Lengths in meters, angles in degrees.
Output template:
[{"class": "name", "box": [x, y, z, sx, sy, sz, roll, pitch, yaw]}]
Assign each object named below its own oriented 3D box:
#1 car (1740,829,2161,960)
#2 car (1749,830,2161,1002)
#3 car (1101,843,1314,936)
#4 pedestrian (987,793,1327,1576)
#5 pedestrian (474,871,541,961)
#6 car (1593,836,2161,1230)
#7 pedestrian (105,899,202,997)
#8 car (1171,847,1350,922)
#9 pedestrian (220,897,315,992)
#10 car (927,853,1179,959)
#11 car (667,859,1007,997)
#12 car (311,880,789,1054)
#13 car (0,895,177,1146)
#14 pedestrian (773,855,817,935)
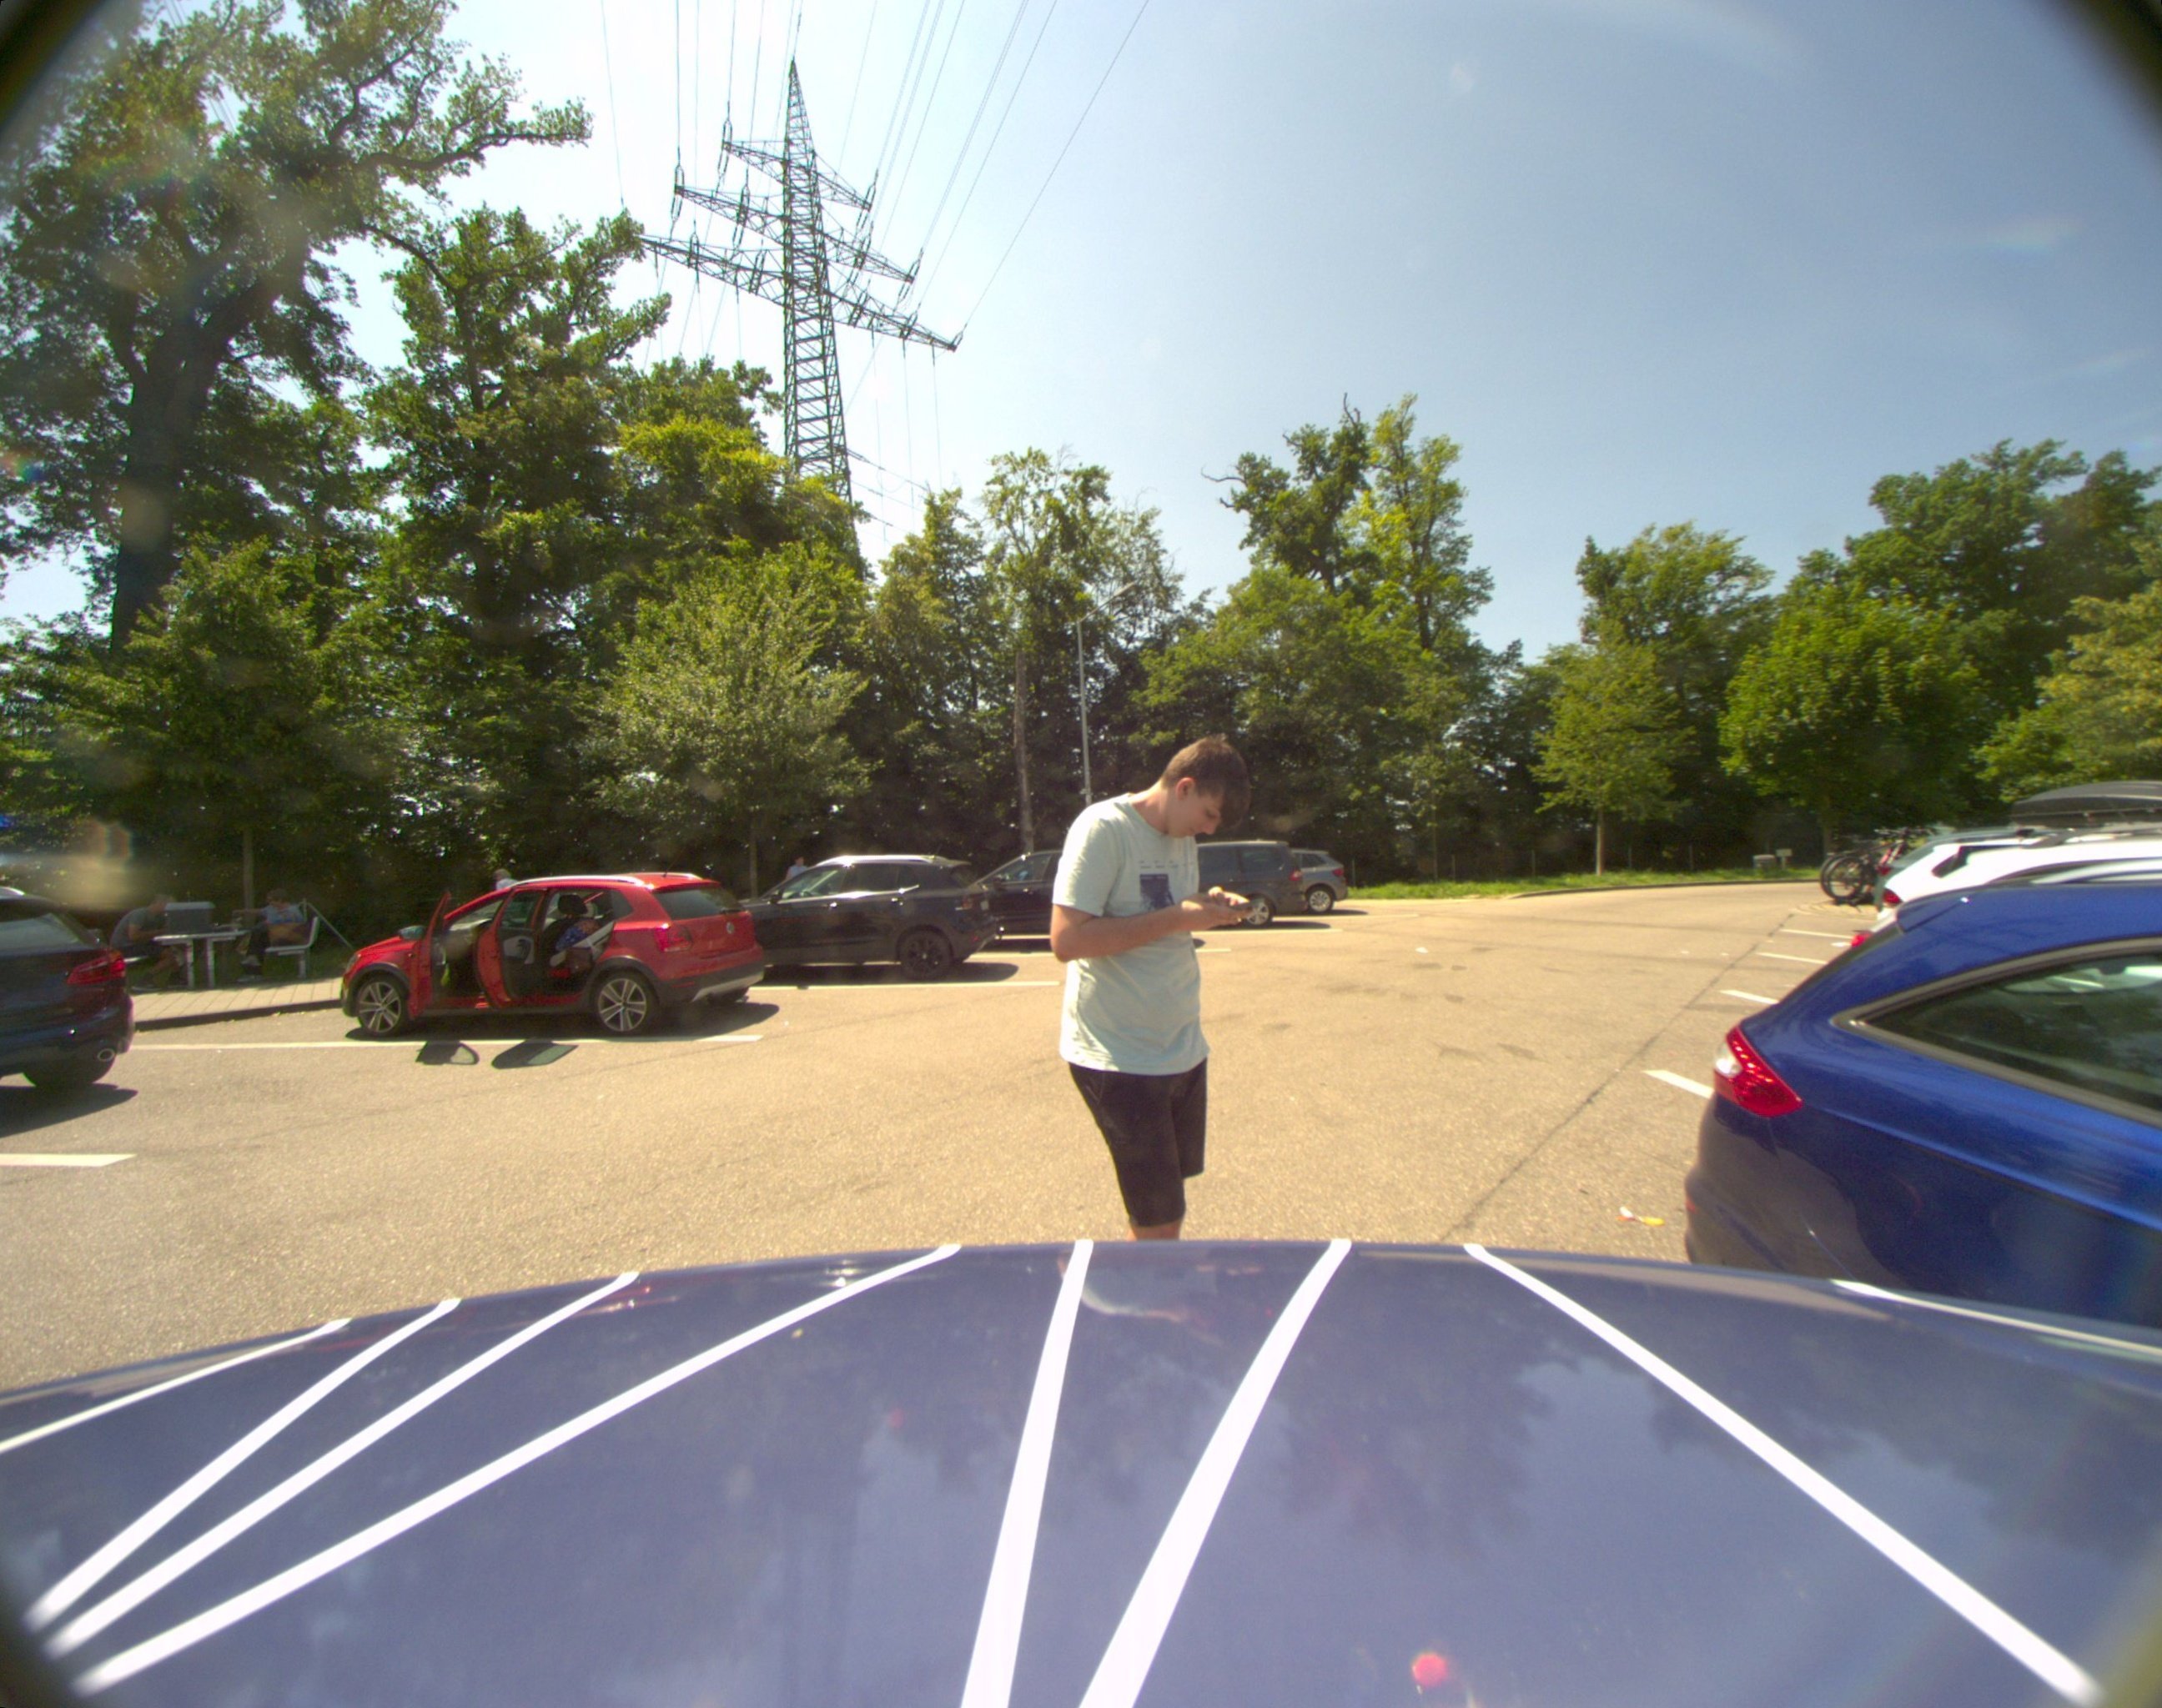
[{"class": "car", "box": [12.362, 0.478, 10.948, 1.779, 1.456, 4.470, -2, -1, 0]}, {"class": "car", "box": [10.060, 0.519, 8.164, 1.779, 1.456, 4.470, -2, -1, 0]}, {"class": "car", "box": [2.506, 0.698, 15.456, 3.964, 1.678, 1.781, -2, 0, 7]}, {"class": "pedestrian", "box": [0.170, 0.730, 1.959, 0.687, 1.699, 0.578, -2, 0, 1]}, {"class": "pedestrian", "box": [-10.692, 1.127, 14.170, 0.807, 1.584, 0.777, -2, 0, 40]}, {"class": "car", "box": [4.903, 0.659, 3.673, 1.779, 1.456, 4.470, -2, -1, 0]}, {"class": "pedestrian", "box": [-12.845, 1.279, 10.528, 0.652, 1.262, 0.672, -2, 0, 24]}, {"class": "car", "box": [4.175, 0.714, 18.208, 3.964, 1.577, 1.781, -2, 0, 7]}, {"class": "pedestrian", "box": [-11.811, 1.297, 11.039, 0.828, 1.287, 0.672, -2, 0, 24]}, {"class": "car", "box": [-0.380, 0.843, 12.972, 3.964, 1.582, 1.781, -2, 0, 8]}, {"class": "car", "box": [-3.149, 0.939, 10.386, 3.966, 1.582, 1.841, -2, 0, 3]}, {"class": "car", "box": [-5.196, 1.074, 7.726, 3.704, 1.448, 1.781, -2, 0, 7]}, {"class": "car", "box": [-8.922, 1.158, 5.008, 4.011, 1.558, 1.846, -2, 0, 6]}, {"class": "pedestrian", "box": [-5.947, 0.841, 15.783, 0.716, 1.584, 0.808, -2, 0, -26]}]
